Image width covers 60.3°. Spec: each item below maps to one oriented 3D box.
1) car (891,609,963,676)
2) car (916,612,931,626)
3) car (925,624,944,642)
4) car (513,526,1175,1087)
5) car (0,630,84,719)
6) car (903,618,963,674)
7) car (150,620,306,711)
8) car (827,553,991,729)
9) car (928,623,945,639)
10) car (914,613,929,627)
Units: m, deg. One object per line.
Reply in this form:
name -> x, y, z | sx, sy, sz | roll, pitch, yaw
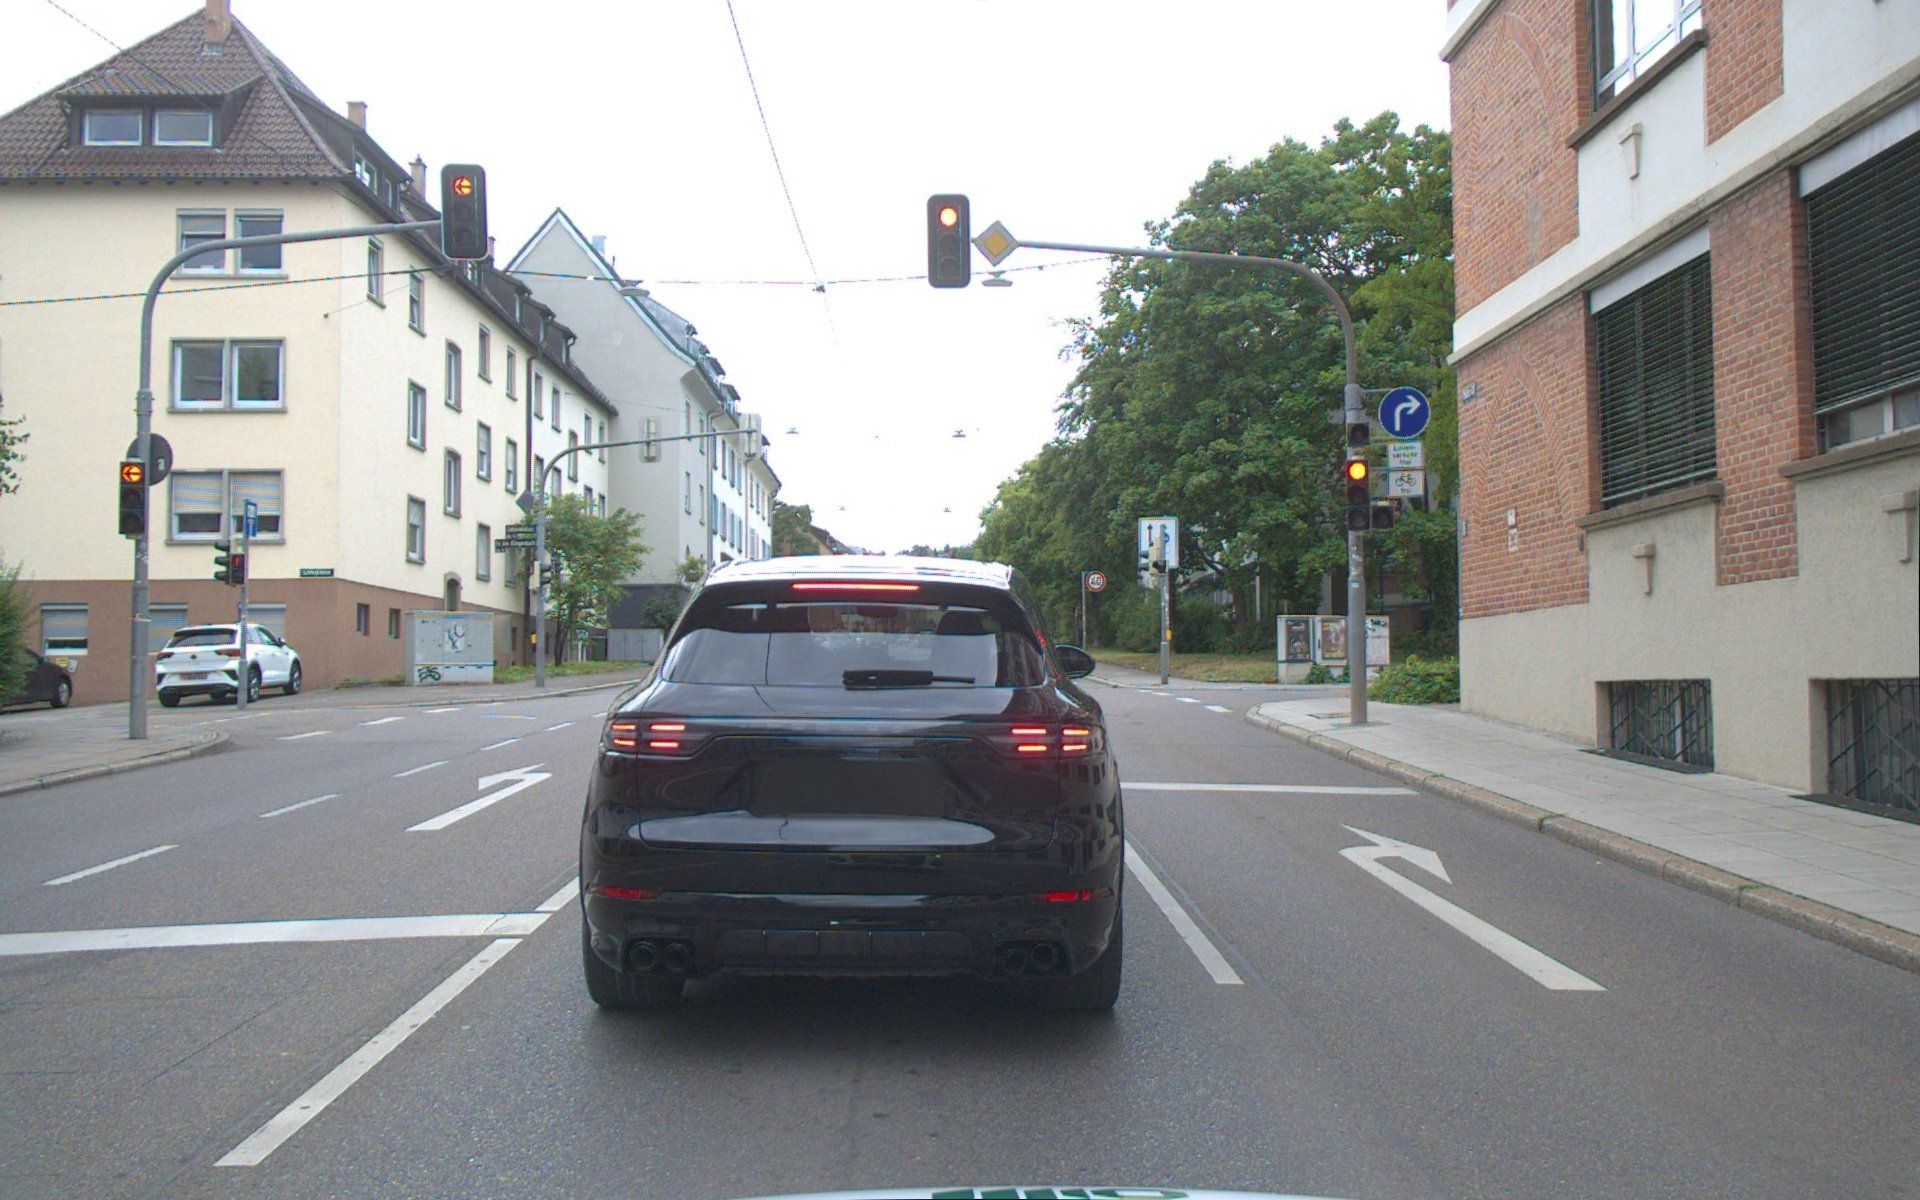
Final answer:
car -> -0.841, 1.078, 43.792 | 1.790, 1.633, 4.134 | 1, 0, -1
car -> -4.629, 2.383, 210.163 | 1.790, 1.633, 4.134 | 1, 0, -1
car -> -2.516, 3.255, 163.220 | 1.790, 1.633, 4.134 | 1, 0, -1
car -> -0.373, 0.633, 7.234 | 2.007, 1.695, 4.266 | 1, 0, -1
car -> -19.633, 1.522, 33.759 | 1.658, 1.636, 3.762 | -3, 0, -5
car -> -0.846, 1.431, 52.504 | 1.790, 1.633, 3.858 | 1, 0, -1
car -> -14.727, 1.277, 33.487 | 1.658, 1.582, 3.762 | -3, 0, -5
car -> -0.623, 0.484, 21.880 | 1.925, 2.078, 4.134 | 1, 0, -1
car -> -2.586, 3.416, 182.392 | 1.790, 1.633, 4.134 | 1, 0, -1
car -> -4.702, 2.435, 202.836 | 1.790, 1.633, 4.134 | 1, 0, -1
